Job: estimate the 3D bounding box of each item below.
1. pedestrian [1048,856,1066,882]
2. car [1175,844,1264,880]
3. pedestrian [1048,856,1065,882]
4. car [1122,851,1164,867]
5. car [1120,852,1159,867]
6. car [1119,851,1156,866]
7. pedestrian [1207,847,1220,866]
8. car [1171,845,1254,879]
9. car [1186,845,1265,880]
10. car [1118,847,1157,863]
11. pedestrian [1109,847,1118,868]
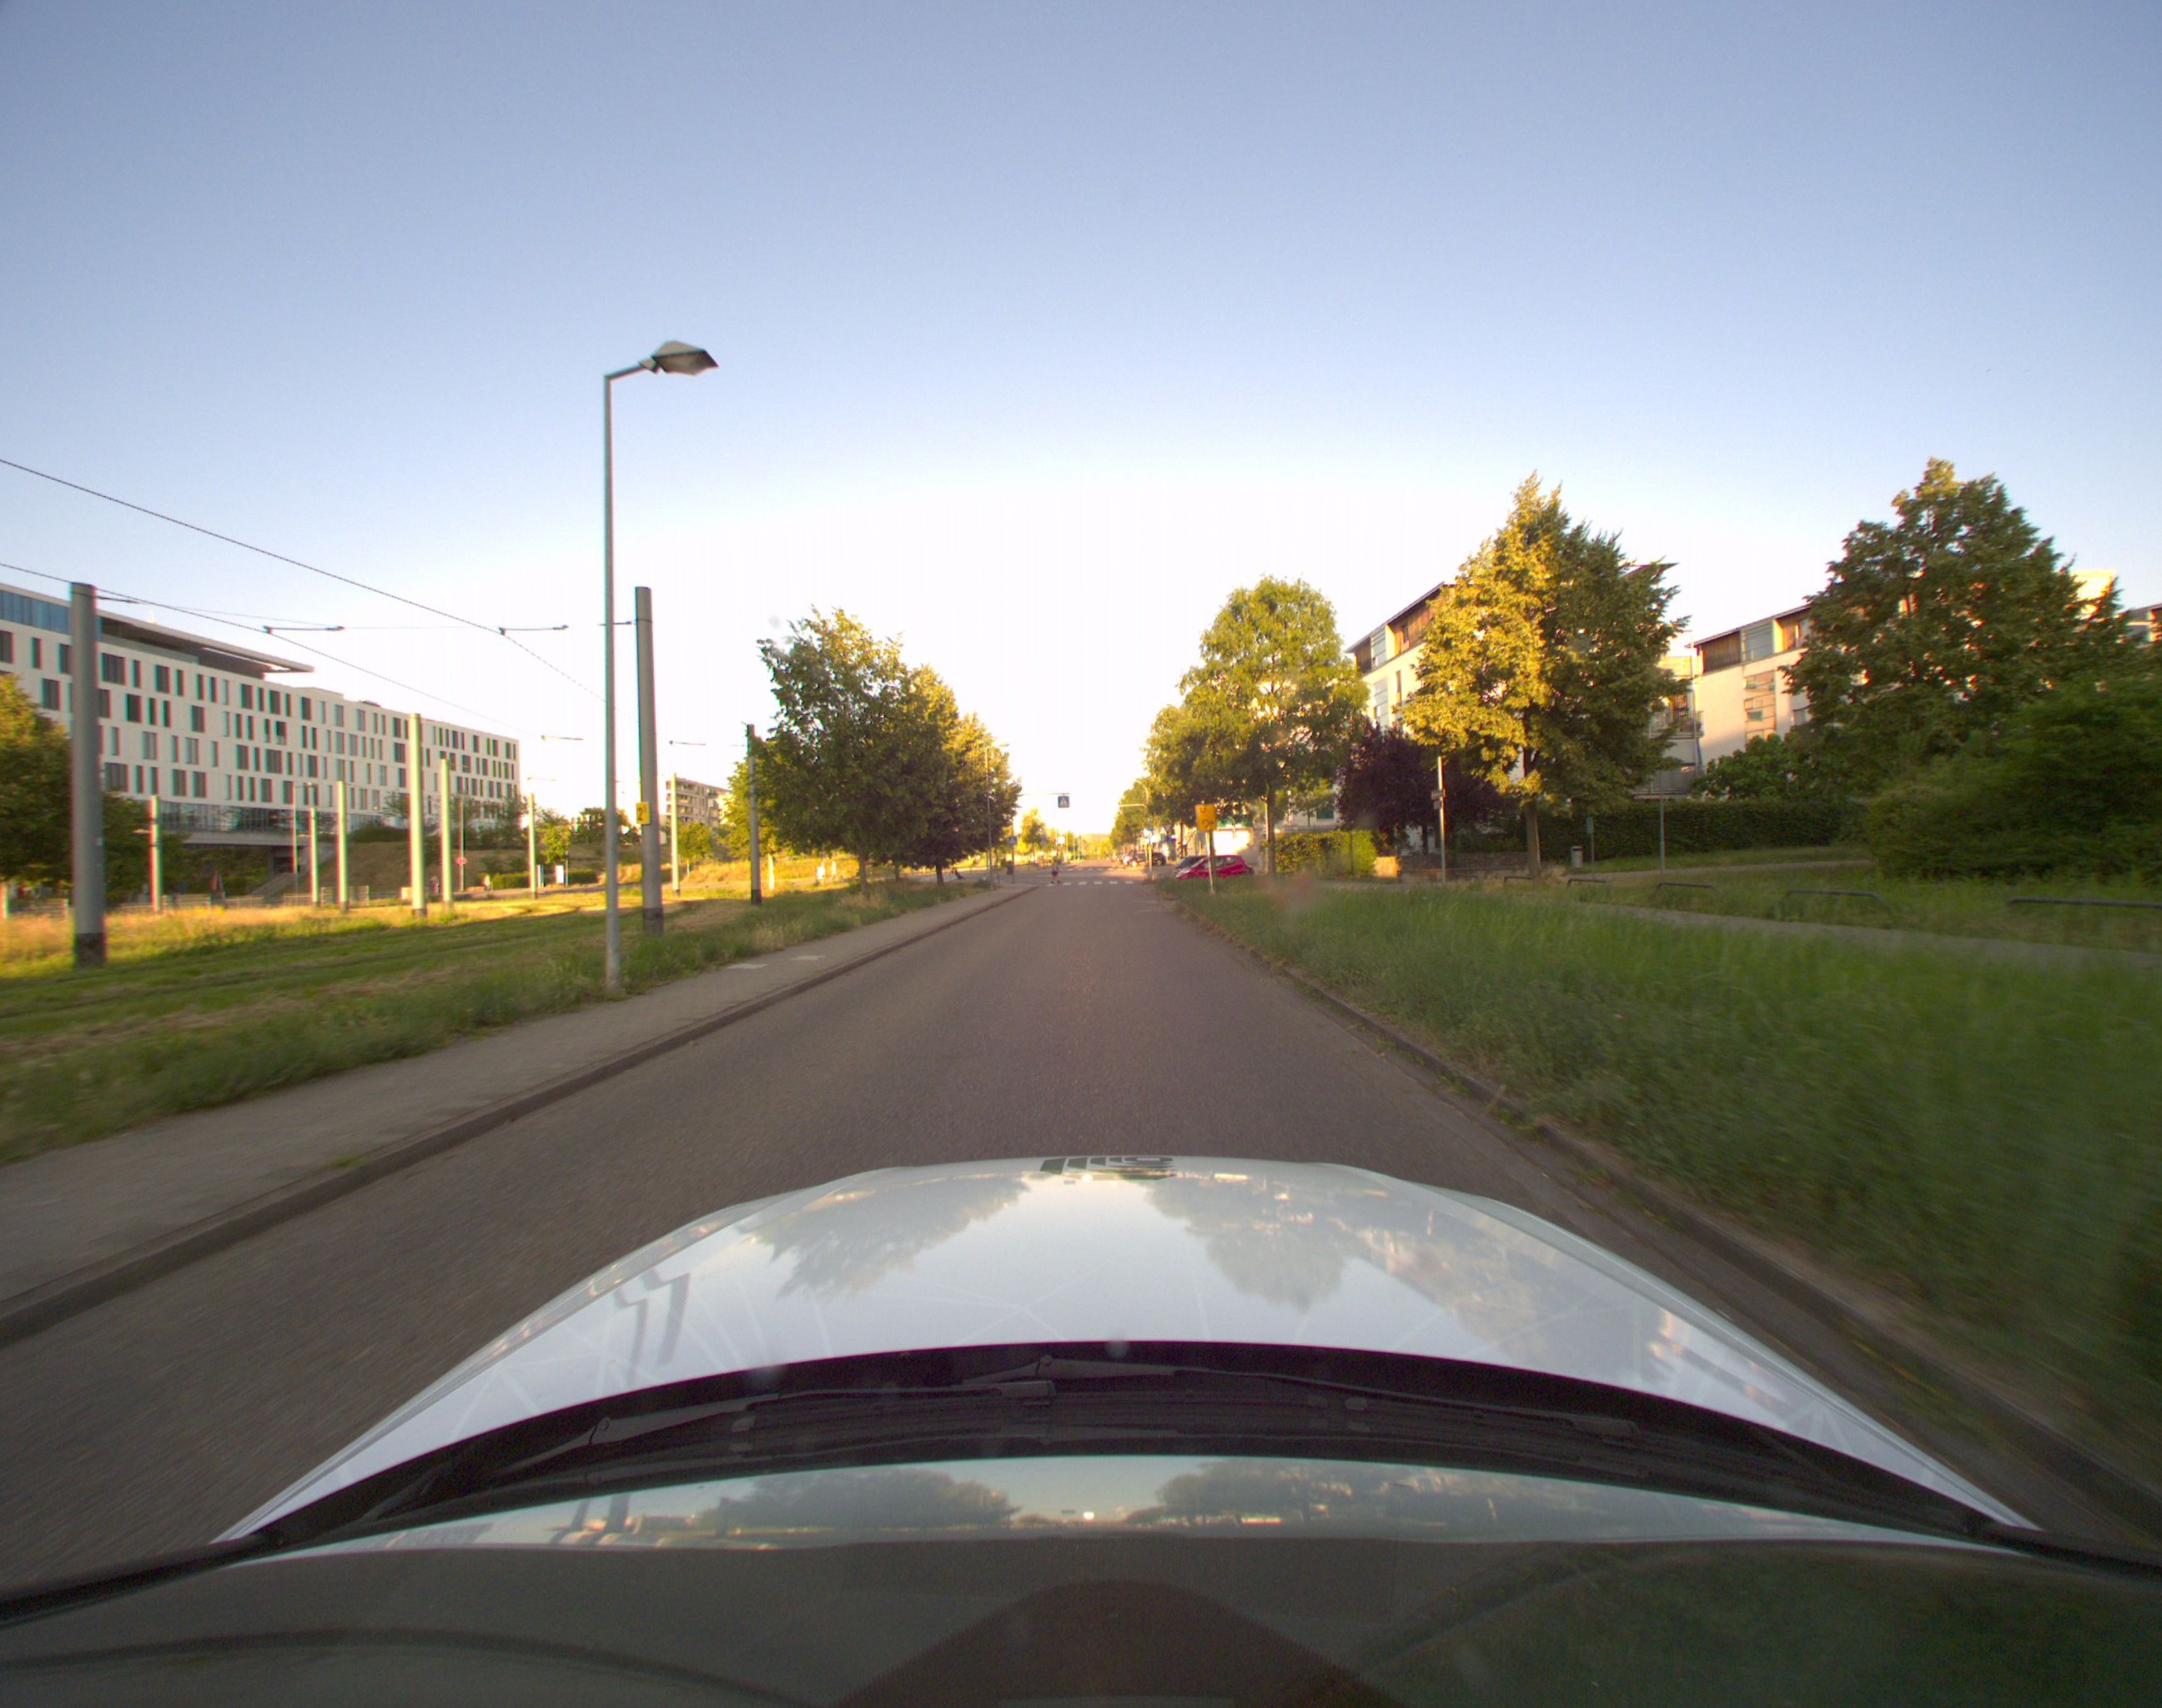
[{"bbox_3d":[-1.555,0.979,53.166,1.018,1.693,0.757,-2,0,-10],"label":"pedestrian"},{"bbox_3d":[6.388,0.380,37.838,3.791,1.508,1.678,-2,0,-1],"label":"car"},{"bbox_3d":[-1.639,0.976,54.119,0.983,1.693,0.697,-2,0,-10],"label":"pedestrian"},{"bbox_3d":[6.729,0.509,88.251,4.467,1.596,2.001,-2,0,2],"label":"car"},{"bbox_3d":[6.674,0.617,93.359,4.338,1.596,2.001,-2,0,2],"label":"car"},{"bbox_3d":[6.660,0.515,96.092,4.247,1.596,2.001,-2,0,2],"label":"car"},{"bbox_3d":[12.420,0.253,76.374,1.002,1.788,0.761,-1,-1,-5],"label":"pedestrian"},{"bbox_3d":[6.502,0.391,40.401,3.791,1.508,1.678,-2,0,-1],"label":"car"},{"bbox_3d":[7.649,0.428,43.214,3.797,1.508,1.676,-4,5,-6],"label":"car"},{"bbox_3d":[7.694,0.139,111.369,4.992,2.045,2.247,-2,0,-4],"label":"car"},{"bbox_3d":[3.232,0.376,80.945,0.842,2.013,0.945,-2,0,7],"label":"pedestrian"}]
